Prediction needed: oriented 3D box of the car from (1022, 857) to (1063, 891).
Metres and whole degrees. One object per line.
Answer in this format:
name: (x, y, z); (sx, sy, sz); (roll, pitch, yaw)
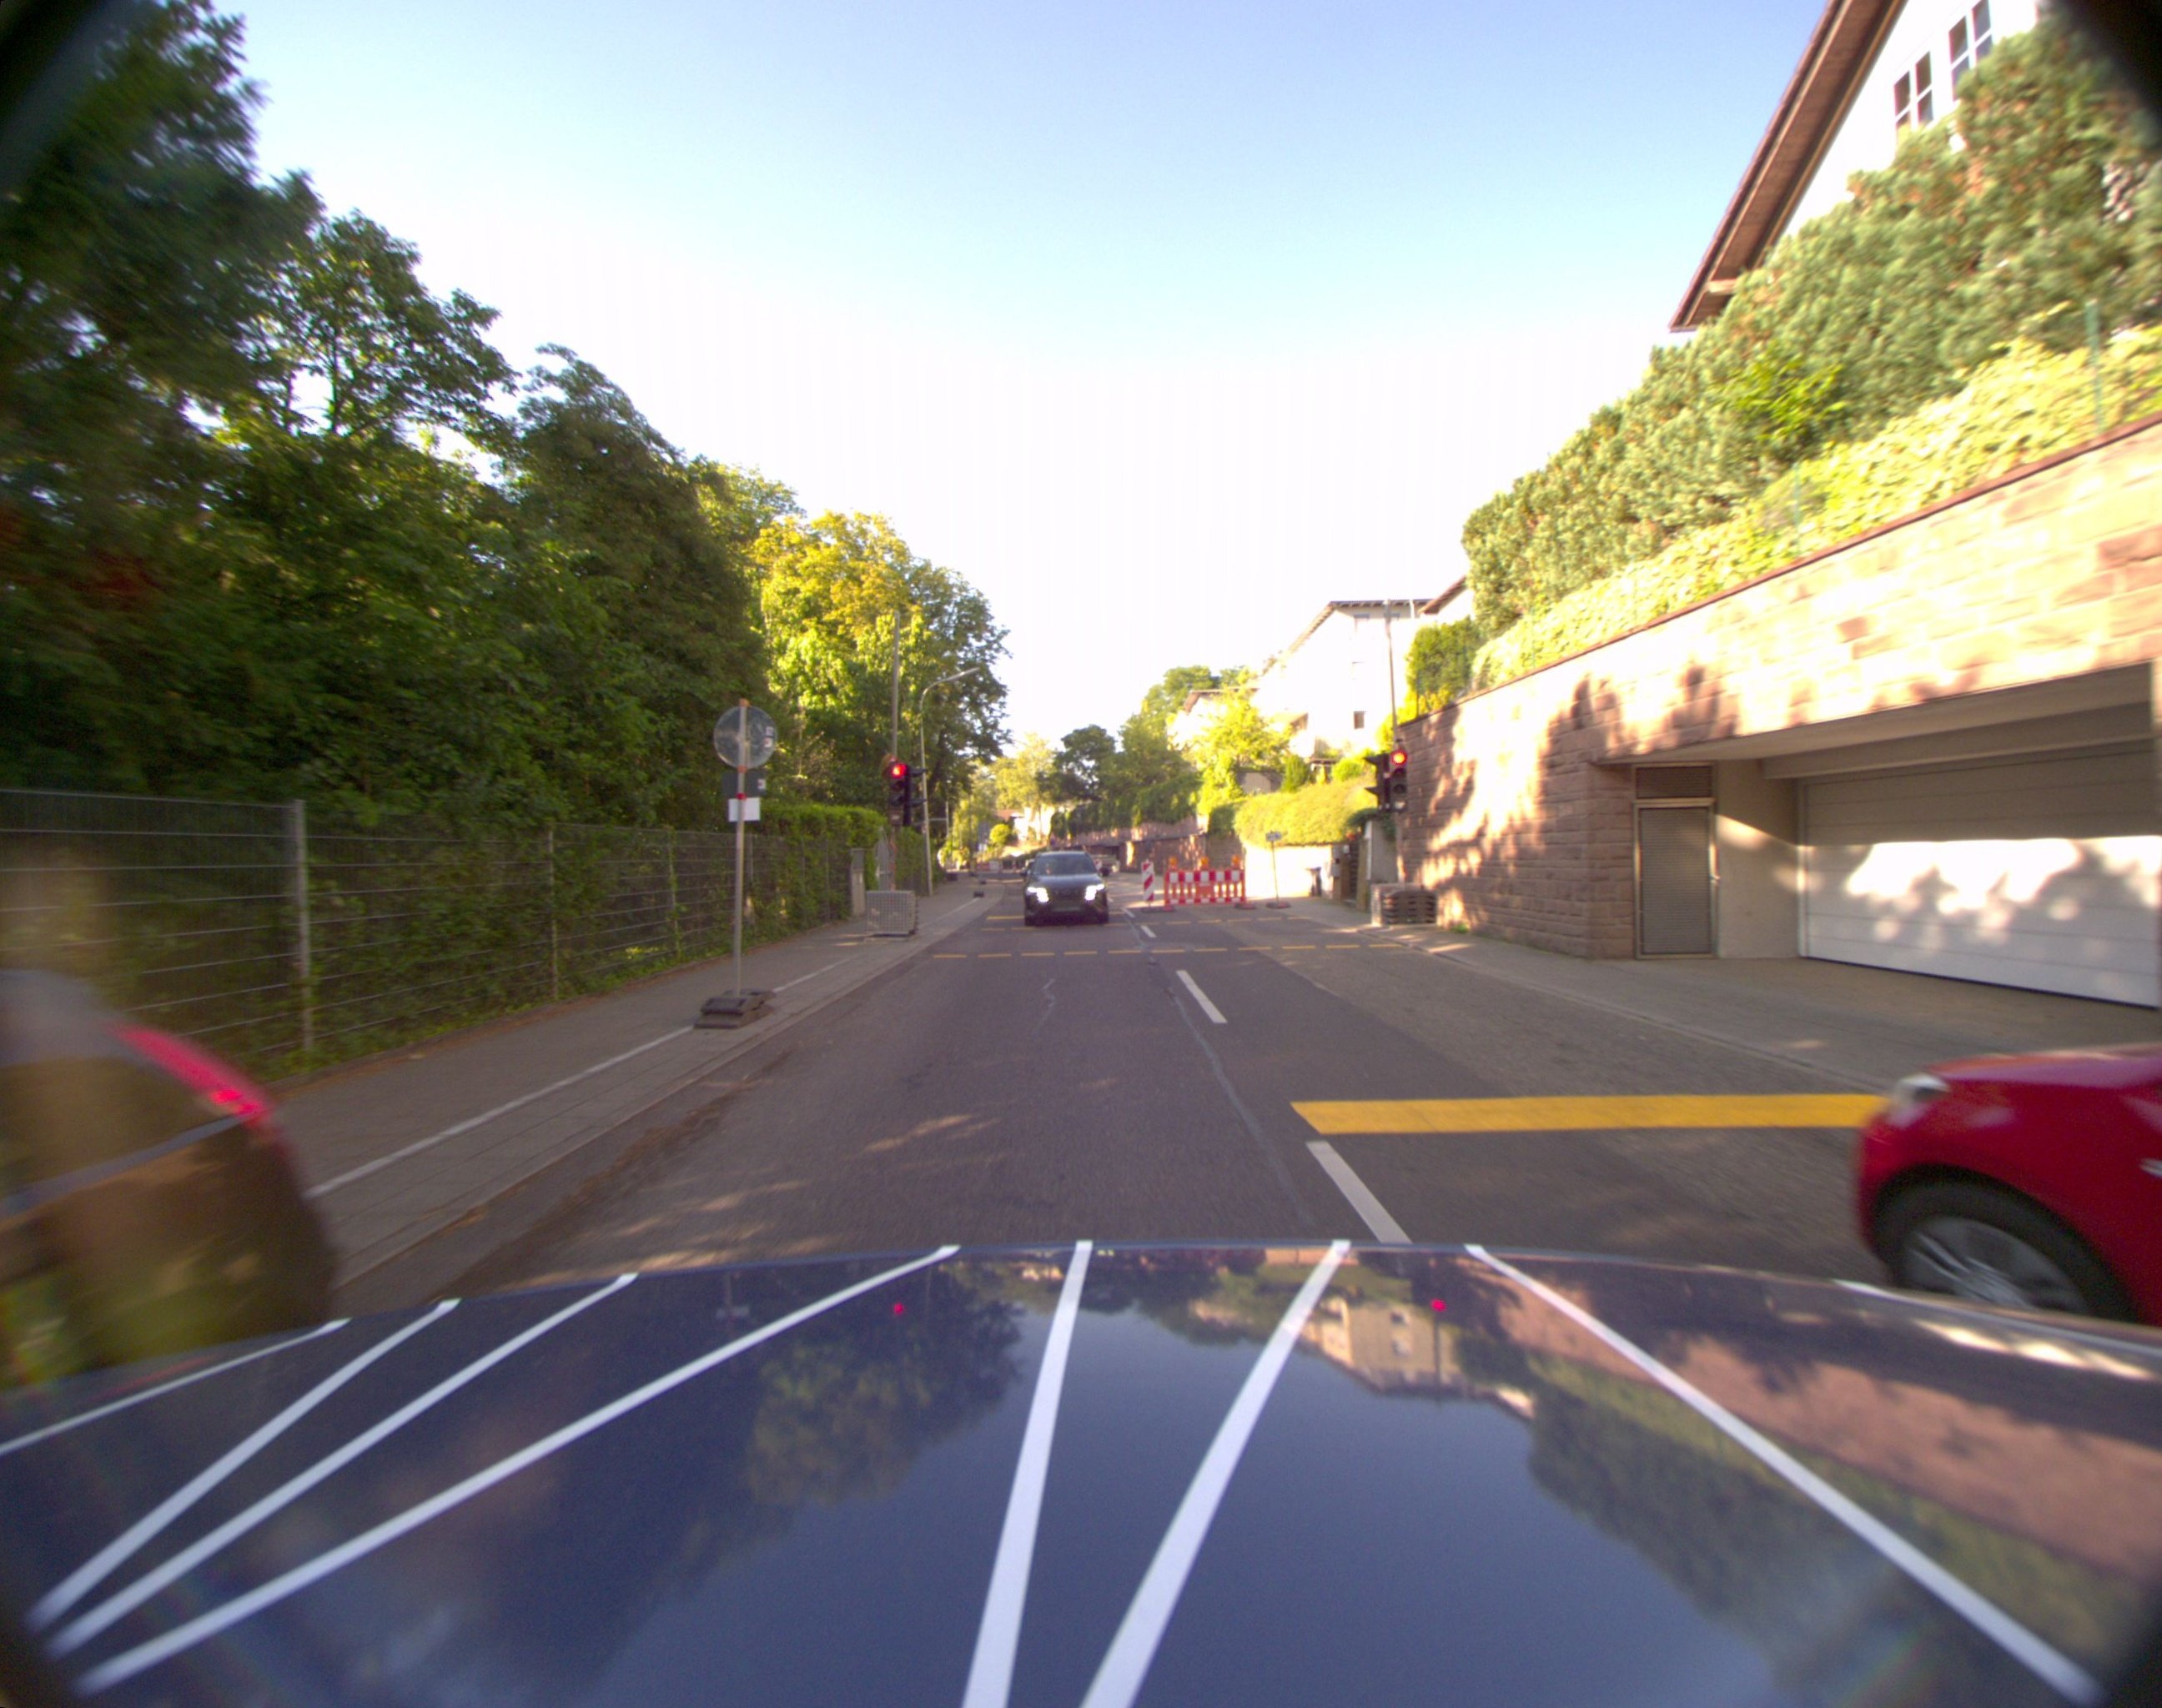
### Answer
car: (-1.887, 0.905, 36.116); (1.663, 1.468, 3.680); (-2, 1, -6)

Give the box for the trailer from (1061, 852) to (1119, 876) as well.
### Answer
trailer: (0.539, 0.658, 54.007); (2.649, 1.481, 7.111); (-3, 1, -11)

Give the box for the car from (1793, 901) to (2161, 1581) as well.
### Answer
car: (3.191, 0.878, 0.727); (1.631, 1.413, 3.562); (-1, 0, -2)

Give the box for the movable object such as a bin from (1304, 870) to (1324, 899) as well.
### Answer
movable object such as a bin: (6.969, 0.907, 22.720); (0.455, 0.829, 0.392); (-2, 1, -2)

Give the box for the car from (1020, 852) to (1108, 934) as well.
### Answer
car: (-0.435, 0.827, 18.239); (1.788, 1.639, 4.473); (-3, 0, -2)

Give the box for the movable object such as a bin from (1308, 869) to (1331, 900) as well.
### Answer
movable object such as a bin: (6.973, 0.882, 22.218); (0.457, 0.879, 0.500); (-2, 1, -1)
